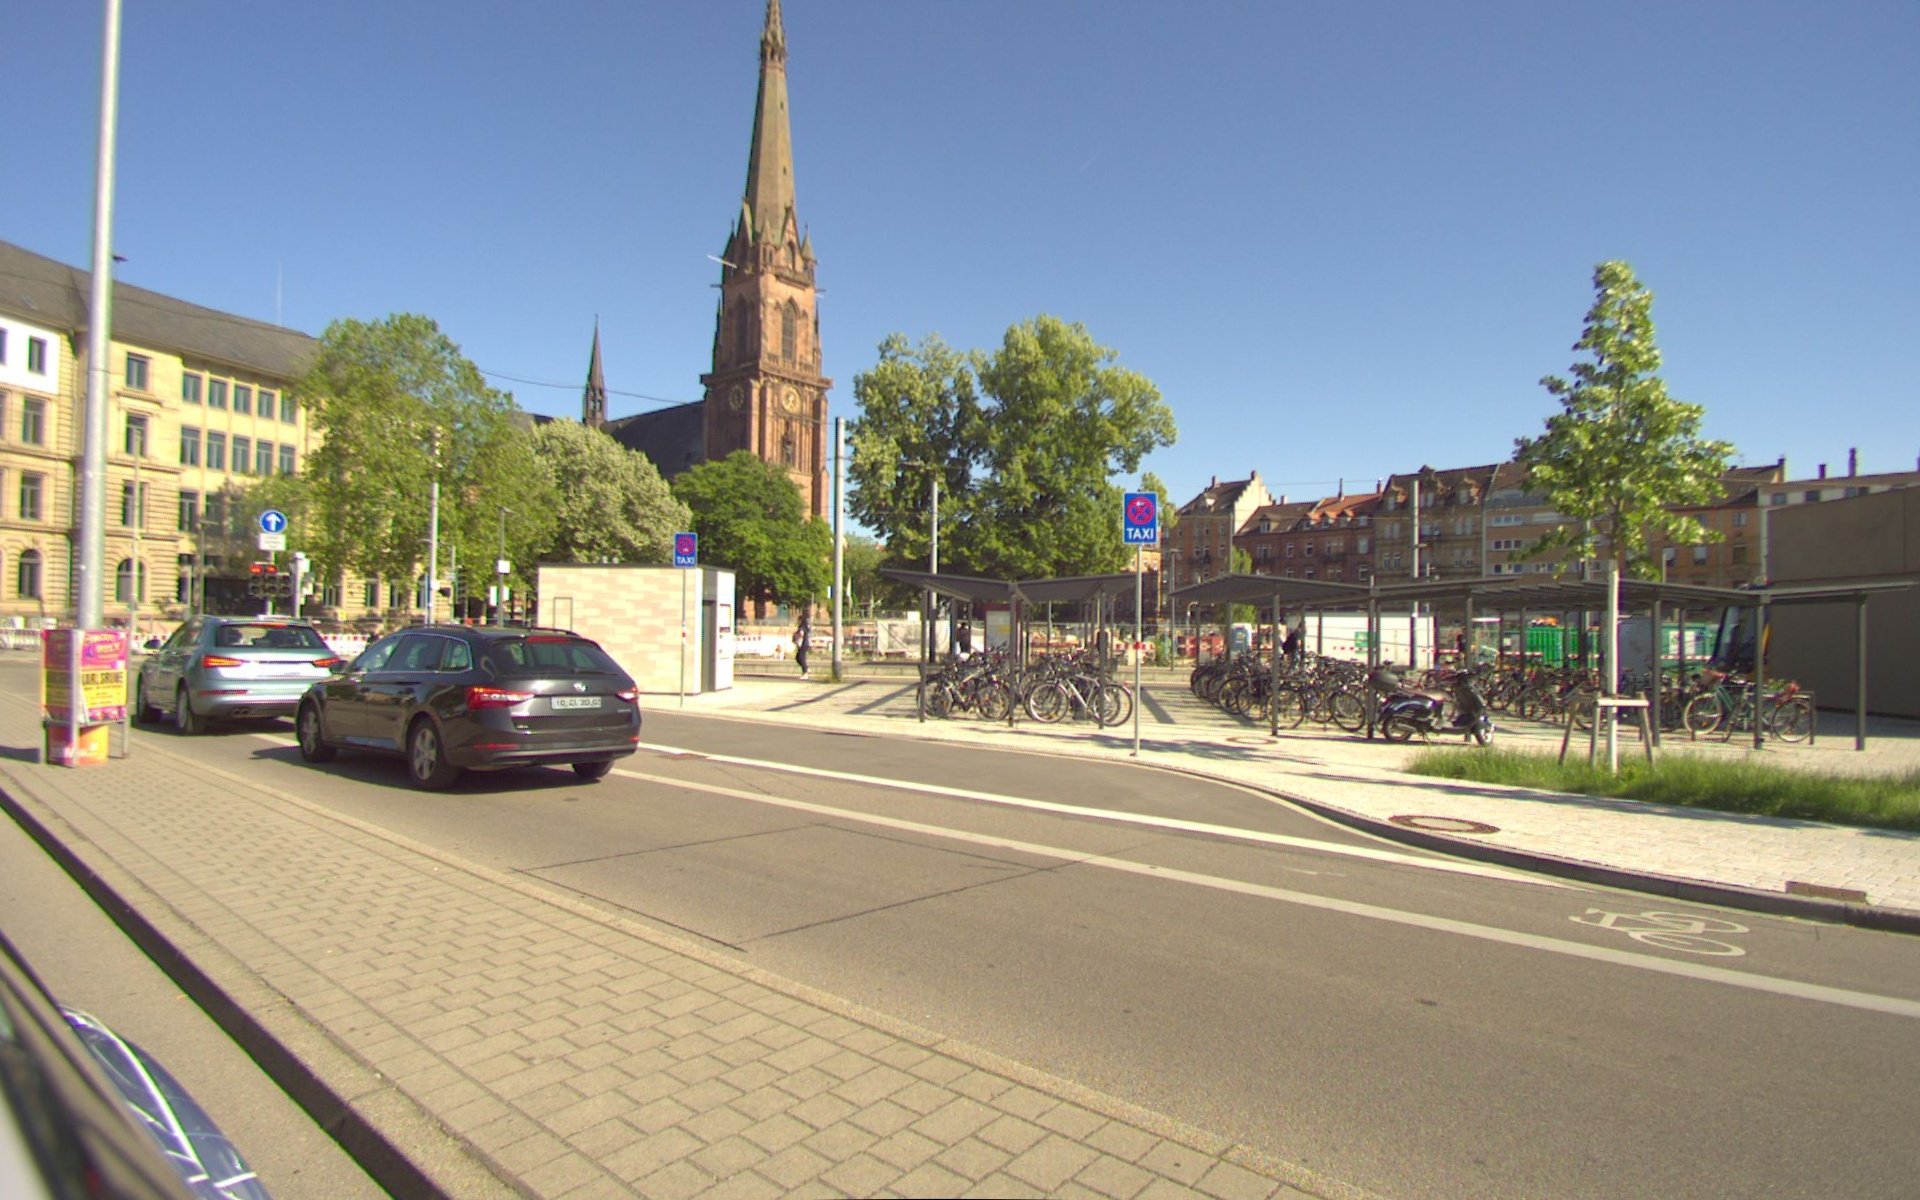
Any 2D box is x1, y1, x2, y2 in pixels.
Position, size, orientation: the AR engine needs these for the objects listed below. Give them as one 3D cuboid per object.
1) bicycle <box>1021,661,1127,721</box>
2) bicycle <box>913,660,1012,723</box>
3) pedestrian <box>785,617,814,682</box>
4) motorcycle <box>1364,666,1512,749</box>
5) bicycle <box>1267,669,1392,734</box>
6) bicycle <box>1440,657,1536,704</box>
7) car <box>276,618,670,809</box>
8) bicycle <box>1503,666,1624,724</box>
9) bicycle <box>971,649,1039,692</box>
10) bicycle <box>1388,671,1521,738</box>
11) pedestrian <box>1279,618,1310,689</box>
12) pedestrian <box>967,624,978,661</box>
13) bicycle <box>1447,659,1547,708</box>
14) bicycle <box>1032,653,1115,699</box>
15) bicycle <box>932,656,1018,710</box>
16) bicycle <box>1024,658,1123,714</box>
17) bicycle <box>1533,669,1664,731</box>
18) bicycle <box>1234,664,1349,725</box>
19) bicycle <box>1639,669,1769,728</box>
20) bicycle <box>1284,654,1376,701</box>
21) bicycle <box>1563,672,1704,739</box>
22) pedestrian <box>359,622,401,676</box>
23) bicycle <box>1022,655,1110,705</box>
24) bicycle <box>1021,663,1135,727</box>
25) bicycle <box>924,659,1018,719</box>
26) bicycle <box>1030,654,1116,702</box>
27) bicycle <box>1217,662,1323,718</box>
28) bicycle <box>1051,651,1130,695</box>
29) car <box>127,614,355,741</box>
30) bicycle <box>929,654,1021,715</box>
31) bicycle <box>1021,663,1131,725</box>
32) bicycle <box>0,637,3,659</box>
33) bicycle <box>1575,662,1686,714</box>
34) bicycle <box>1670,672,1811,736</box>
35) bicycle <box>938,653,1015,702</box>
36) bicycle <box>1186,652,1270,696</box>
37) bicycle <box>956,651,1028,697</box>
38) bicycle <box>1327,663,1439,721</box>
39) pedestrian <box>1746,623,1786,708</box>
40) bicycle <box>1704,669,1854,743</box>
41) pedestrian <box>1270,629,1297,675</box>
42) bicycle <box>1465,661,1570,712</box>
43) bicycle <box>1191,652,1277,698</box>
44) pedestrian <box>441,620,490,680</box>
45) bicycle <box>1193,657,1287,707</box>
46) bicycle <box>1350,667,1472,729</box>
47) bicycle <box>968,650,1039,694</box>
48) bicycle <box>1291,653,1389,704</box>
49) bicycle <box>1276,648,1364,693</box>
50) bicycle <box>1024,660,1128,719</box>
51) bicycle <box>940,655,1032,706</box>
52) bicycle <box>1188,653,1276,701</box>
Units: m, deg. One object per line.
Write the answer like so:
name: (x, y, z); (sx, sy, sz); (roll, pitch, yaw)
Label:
bicycle: (2.056, 1.632, 18.258); (1.882, 1.016, 0.456); (0, -2, 8)
bicycle: (0.052, 1.560, 17.339); (1.652, 1.016, 0.456); (0, -2, 8)
pedestrian: (-4.418, 1.355, 27.973); (0.750, 1.781, 0.661); (1, -2, -7)
motorcycle: (7.163, 1.602, 15.222); (1.924, 1.160, 0.516); (0, -2, 6)
bicycle: (6.123, 1.681, 16.836); (1.882, 1.016, 0.456); (0, -2, 8)
bicycle: (12.081, 1.835, 23.191); (1.882, 1.016, 0.456); (0, -2, 8)
car: (-5.030, 0.965, 10.158); (4.571, 1.511, 1.771); (-1, -3, 39)
bicycle: (11.166, 1.755, 18.754); (1.882, 1.016, 0.456); (0, -2, 8)
bicycle: (1.109, 1.729, 24.939); (1.652, 1.016, 0.456); (0, -2, 8)
bicycle: (8.030, 1.691, 16.490); (1.882, 1.016, 0.456); (0, -2, 8)
pedestrian: (8.891, 1.415, 26.885); (0.676, 1.848, 0.564); (0, -2, 8)
pedestrian: (0.588, 1.993, 47.613); (0.399, 1.734, 0.419); (1, -2, -11)
bicycle: (11.786, 1.824, 22.240); (1.882, 1.016, 0.456); (0, -2, 8)
bicycle: (2.608, 1.747, 23.300); (1.882, 1.016, 0.456); (0, -2, 8)
bicycle: (0.307, 1.619, 19.885); (1.652, 1.016, 0.456); (0, -2, 8)
bicycle: (2.198, 1.658, 19.581); (1.882, 1.016, 0.456); (0, -2, 8)
bicycle: (11.102, 1.731, 17.638); (1.882, 1.016, 0.456); (0, -2, 8)
bicycle: (5.901, 1.682, 18.089); (1.882, 1.016, 0.456); (0, -2, 8)
bicycle: (13.471, 1.776, 18.361); (1.882, 1.016, 0.456); (0, -2, 8)
bicycle: (8.318, 1.734, 22.814); (1.882, 1.016, 0.456); (0, -2, 8)
bicycle: (10.974, 1.717, 16.533); (1.882, 1.016, 0.456); (0, -2, 8)
pedestrian: (-19.584, 1.651, 34.174); (0.802, 1.793, 0.965); (-1, -2, 40)
bicycle: (2.299, 1.721, 21.917); (1.882, 1.016, 0.456); (0, -2, 8)
bicycle: (1.991, 1.602, 17.111); (1.882, 1.016, 0.456); (0, -2, 8)
bicycle: (0.203, 1.585, 18.188); (1.652, 1.016, 0.456); (0, -2, 8)
bicycle: (2.512, 1.726, 22.530); (1.882, 1.016, 0.456); (0, -2, 8)
bicycle: (5.899, 1.707, 19.319); (1.882, 1.016, 0.456); (0, -2, 8)
bicycle: (3.164, 1.776, 24.596); (1.882, 1.016, 0.456); (0, -2, 8)
car: (-10.398, 1.019, 14.518); (4.241, 1.554, 1.835); (-1, -4, 44)
bicycle: (0.282, 1.558, 18.773); (1.652, 1.069, 0.456); (0, -2, 8)
bicycle: (2.021, 1.623, 17.670); (1.882, 1.016, 0.456); (0, -2, 8)
bicycle: (-45.542, 2.217, 46.779); (1.807, 0.999, 0.734); (1, -2, -5)
bicycle: (13.875, 1.817, 20.967); (1.882, 1.016, 0.456); (0, -2, 8)
bicycle: (13.130, 1.742, 17.062); (1.882, 1.016, 0.456); (0, -2, 8)
bicycle: (0.373, 1.690, 22.221); (1.652, 1.016, 0.456); (0, -2, 8)
bicycle: (6.395, 1.761, 24.222); (1.882, 1.016, 0.456); (0, -2, 8)
bicycle: (0.748, 1.709, 23.478); (1.652, 1.016, 0.456); (0, -2, 8)
bicycle: (7.920, 1.711, 18.992); (1.882, 1.016, 0.456); (0, -2, 8)
pedestrian: (19.658, 1.577, 24.679); (0.718, 2.029, 0.678); (-1, -2, 41)
bicycle: (13.083, 1.684, 16.202); (1.882, 1.106, 0.456); (0, -2, 8)
pedestrian: (12.907, 2.059, 40.370); (0.792, 1.793, 0.977); (0, -2, 3)
bicycle: (11.716, 1.813, 21.309); (1.882, 1.016, 0.456); (0, -2, 8)
bicycle: (6.368, 1.731, 23.564); (1.882, 1.016, 0.456); (0, -2, 8)
pedestrian: (-15.197, 1.525, 31.098); (1.130, 1.793, 0.965); (-1, -2, 40)
bicycle: (5.967, 1.746, 21.606); (1.882, 1.016, 0.456); (0, -2, 8)
bicycle: (7.896, 1.708, 17.759); (1.882, 1.016, 0.456); (0, -2, 8)
bicycle: (1.044, 1.714, 24.223); (1.652, 1.016, 0.456); (0, -2, 8)
bicycle: (8.059, 1.660, 21.520); (1.882, 1.016, 0.456); (0, -2, 8)
bicycle: (8.488, 1.651, 23.907); (1.882, 1.016, 0.456); (0, -2, 8)
bicycle: (2.138, 1.645, 18.740); (1.882, 1.016, 0.456); (0, -2, 8)
bicycle: (0.545, 1.674, 21.223); (1.882, 1.016, 0.456); (0, -2, 8)
bicycle: (6.151, 1.737, 22.940); (1.882, 1.016, 0.456); (0, -2, 8)
